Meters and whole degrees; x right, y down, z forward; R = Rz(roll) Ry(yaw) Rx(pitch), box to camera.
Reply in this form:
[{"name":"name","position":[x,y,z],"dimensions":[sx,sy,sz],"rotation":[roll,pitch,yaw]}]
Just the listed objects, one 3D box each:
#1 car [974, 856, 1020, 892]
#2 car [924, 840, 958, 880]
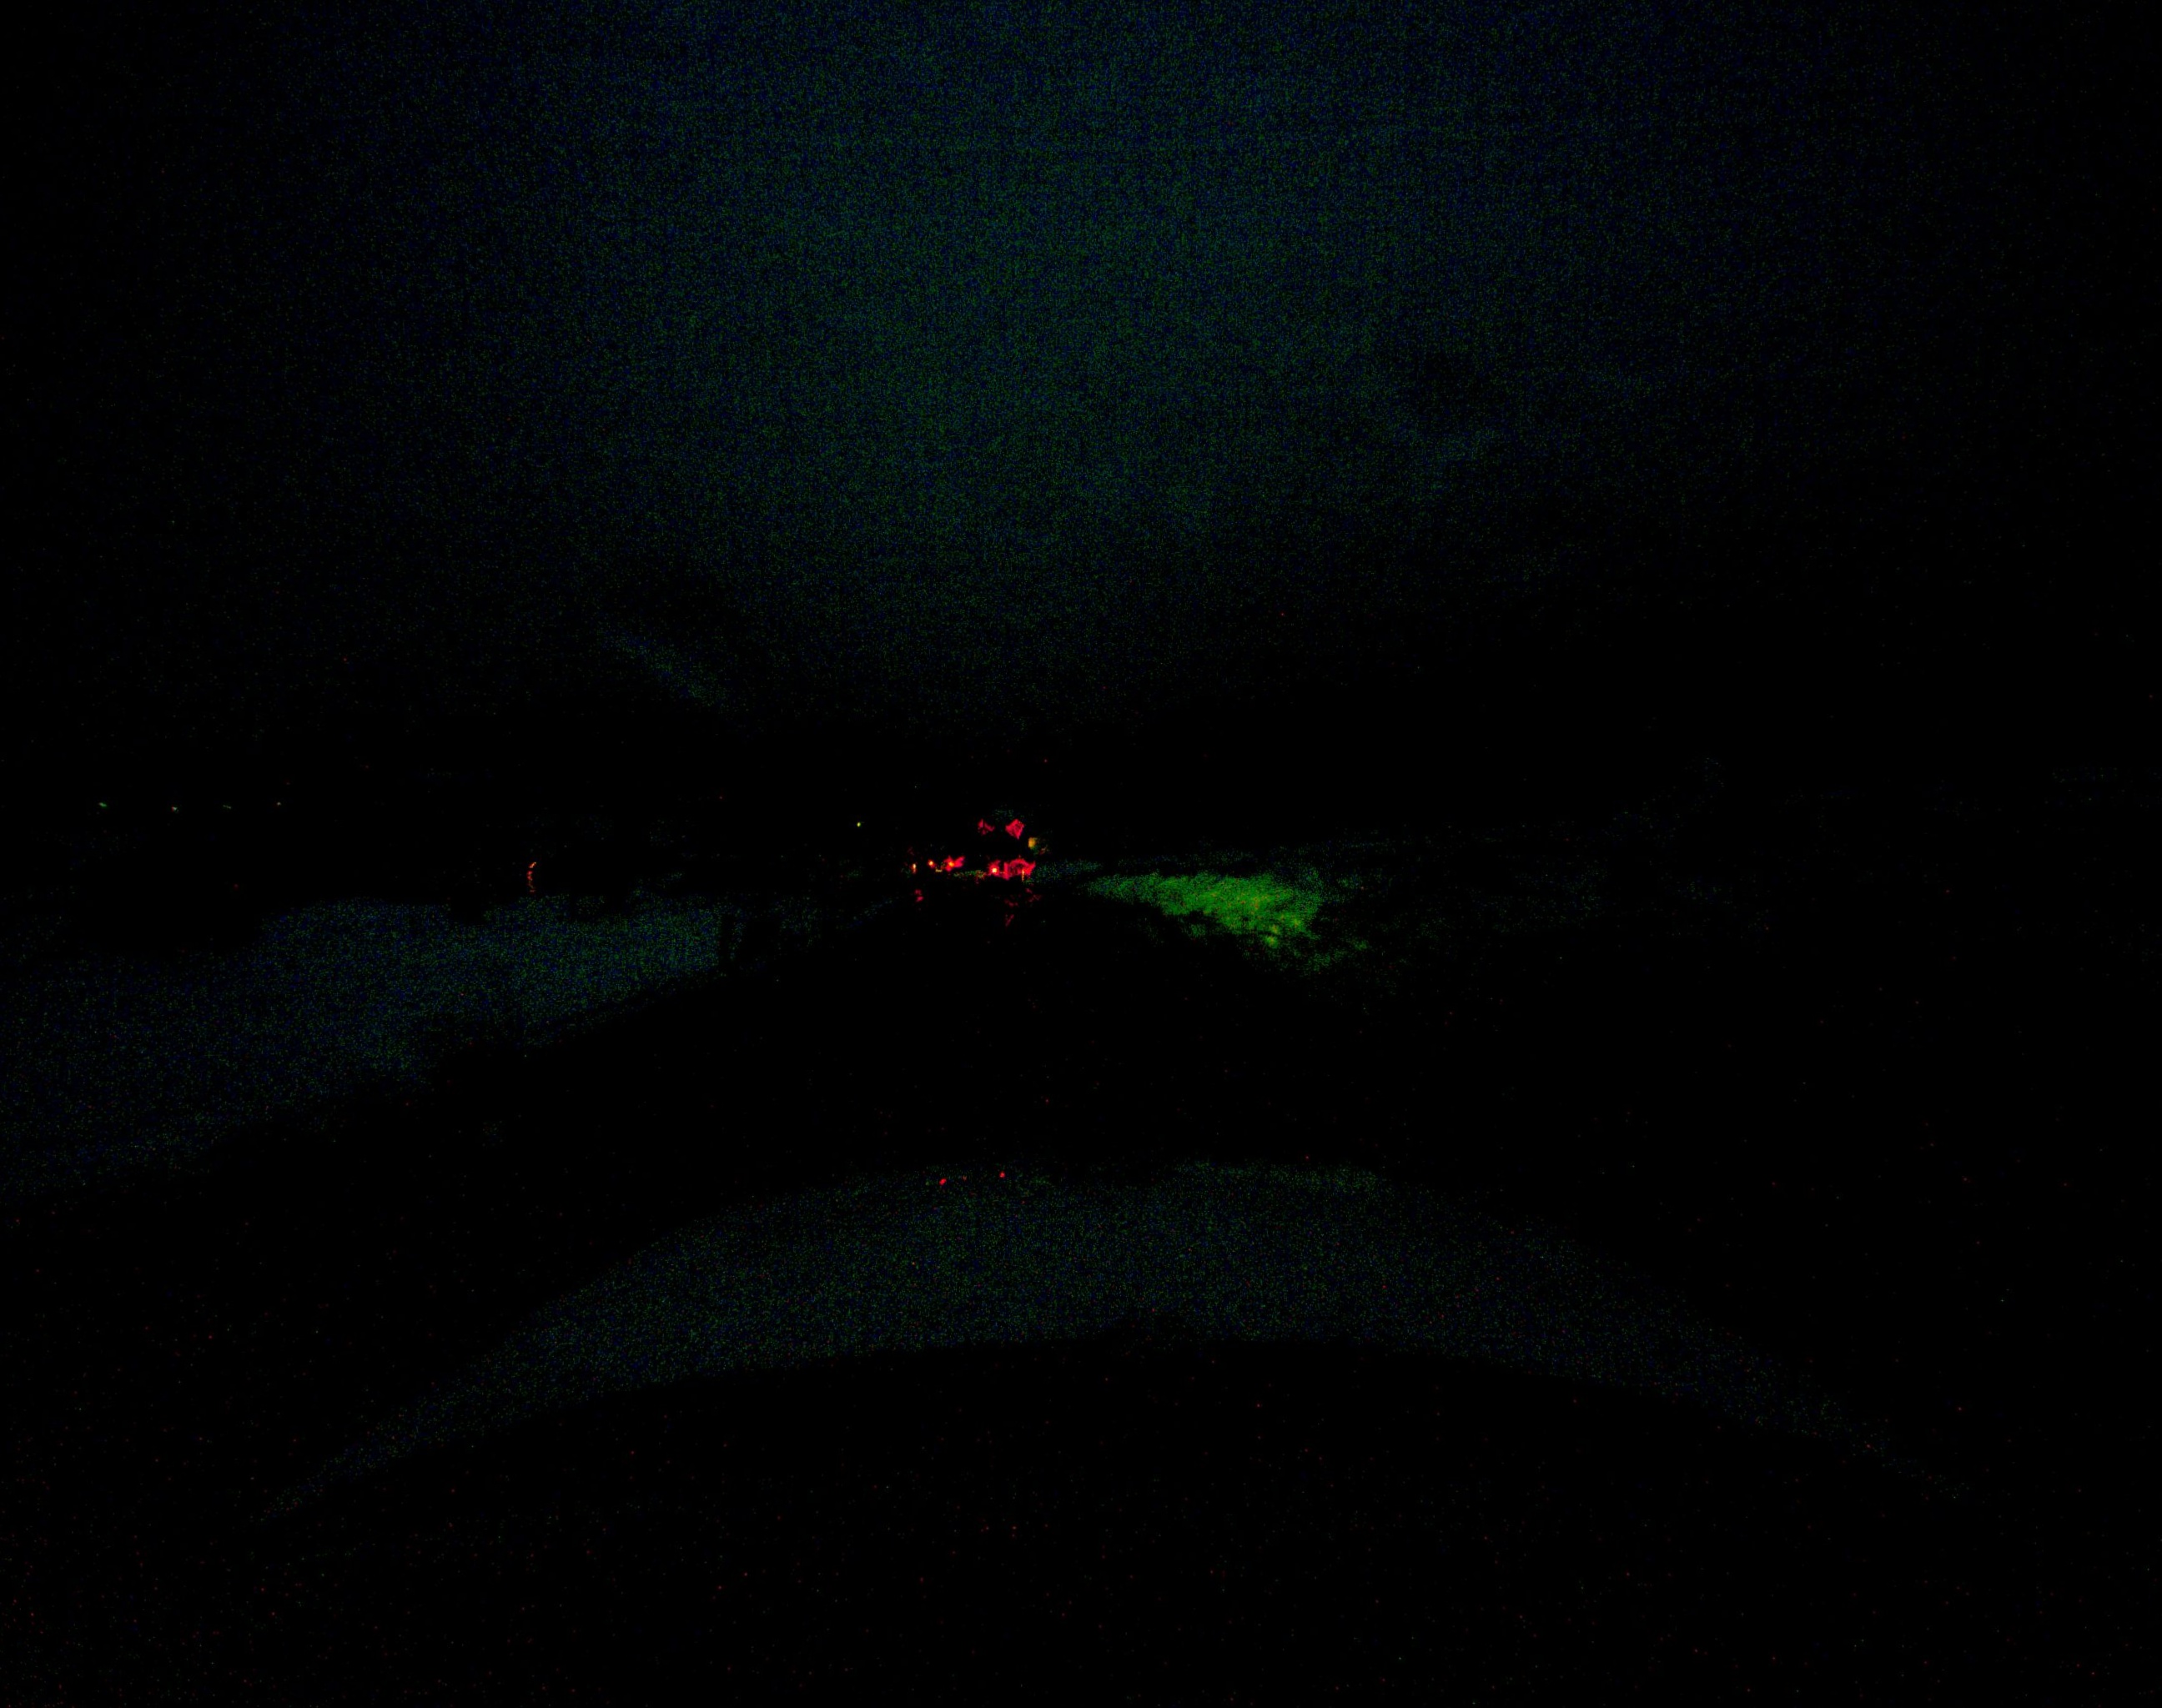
[{"name":"car","position":[-4.780,1.102,45.802],"dimensions":[2.273,1.841,4.991],"rotation":[-3,-1,-9]},{"name":"car","position":[-11.386,0.528,65.959],"dimensions":[2.437,3.019,5.303],"rotation":[-2,-1,-12]}]
